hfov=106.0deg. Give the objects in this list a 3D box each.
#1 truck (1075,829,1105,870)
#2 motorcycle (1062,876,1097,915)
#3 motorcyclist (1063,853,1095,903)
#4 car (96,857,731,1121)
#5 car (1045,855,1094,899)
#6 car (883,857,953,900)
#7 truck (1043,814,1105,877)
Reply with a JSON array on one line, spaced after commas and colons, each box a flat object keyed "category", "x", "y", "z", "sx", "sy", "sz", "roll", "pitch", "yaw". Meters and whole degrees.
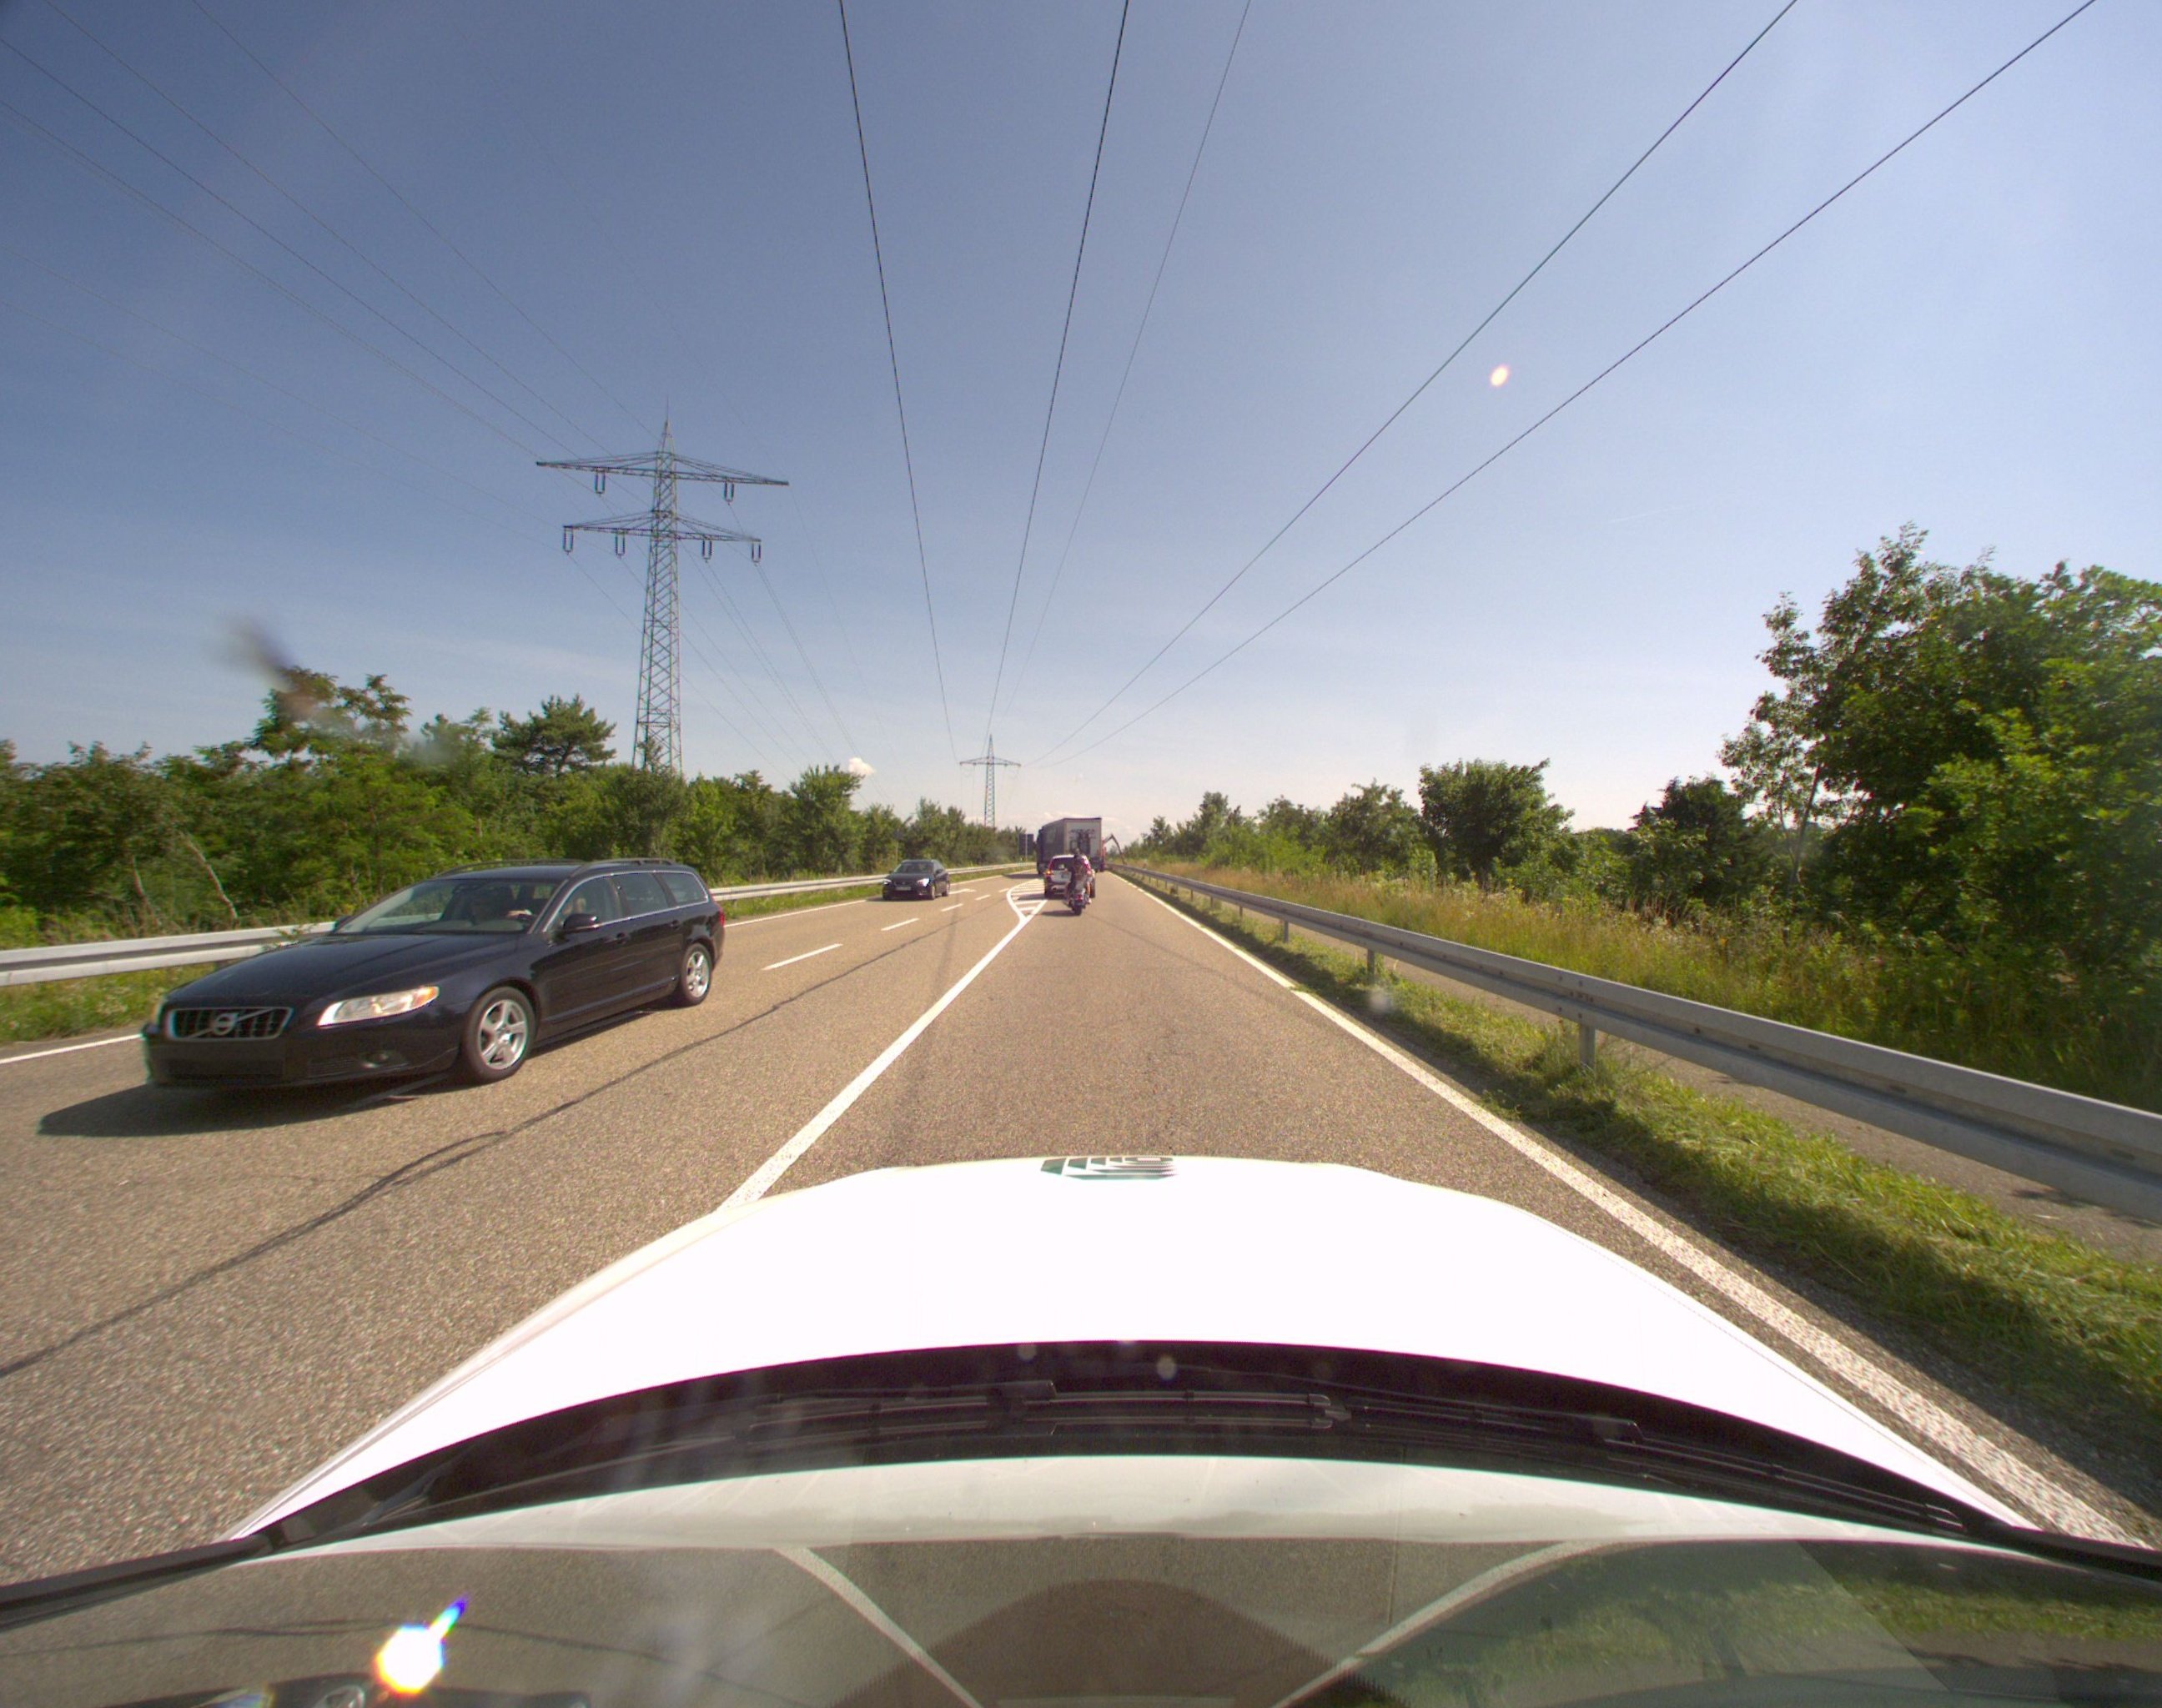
[{"category": "truck", "x": 0.777, "y": -0.387, "z": 76.450, "sx": 2.606, "sy": 3.711, "sz": 6.775, "roll": 0, "pitch": 0, "yaw": -1}, {"category": "motorcycle", "x": -0.061, "y": 1.077, "z": 21.521, "sx": 0.856, "sy": 0.915, "sz": 2.226, "roll": -1, "pitch": 0, "yaw": -2}, {"category": "motorcyclist", "x": -0.063, "y": 0.630, "z": 21.577, "sx": 0.835, "sy": 1.280, "sz": 0.919, "roll": 0, "pitch": 0, "yaw": -2}, {"category": "car", "x": -4.796, "y": 0.781, "z": 6.907, "sx": 1.722, "sy": 1.491, "sz": 4.422, "roll": 0, "pitch": 0, "yaw": 0}, {"category": "car", "x": -0.390, "y": 0.794, "z": 29.913, "sx": 1.695, "sy": 1.536, "sz": 3.499, "roll": 0, "pitch": 0, "yaw": 0}, {"category": "car", "x": -5.905, "y": 0.849, "z": 29.973, "sx": 1.654, "sy": 1.442, "sz": 4.215, "roll": 0, "pitch": 0, "yaw": 1}, {"category": "truck", "x": -0.794, "y": -0.561, "z": 61.915, "sx": 2.965, "sy": 4.187, "sz": 14.782, "roll": 0, "pitch": 0, "yaw": -7}]
